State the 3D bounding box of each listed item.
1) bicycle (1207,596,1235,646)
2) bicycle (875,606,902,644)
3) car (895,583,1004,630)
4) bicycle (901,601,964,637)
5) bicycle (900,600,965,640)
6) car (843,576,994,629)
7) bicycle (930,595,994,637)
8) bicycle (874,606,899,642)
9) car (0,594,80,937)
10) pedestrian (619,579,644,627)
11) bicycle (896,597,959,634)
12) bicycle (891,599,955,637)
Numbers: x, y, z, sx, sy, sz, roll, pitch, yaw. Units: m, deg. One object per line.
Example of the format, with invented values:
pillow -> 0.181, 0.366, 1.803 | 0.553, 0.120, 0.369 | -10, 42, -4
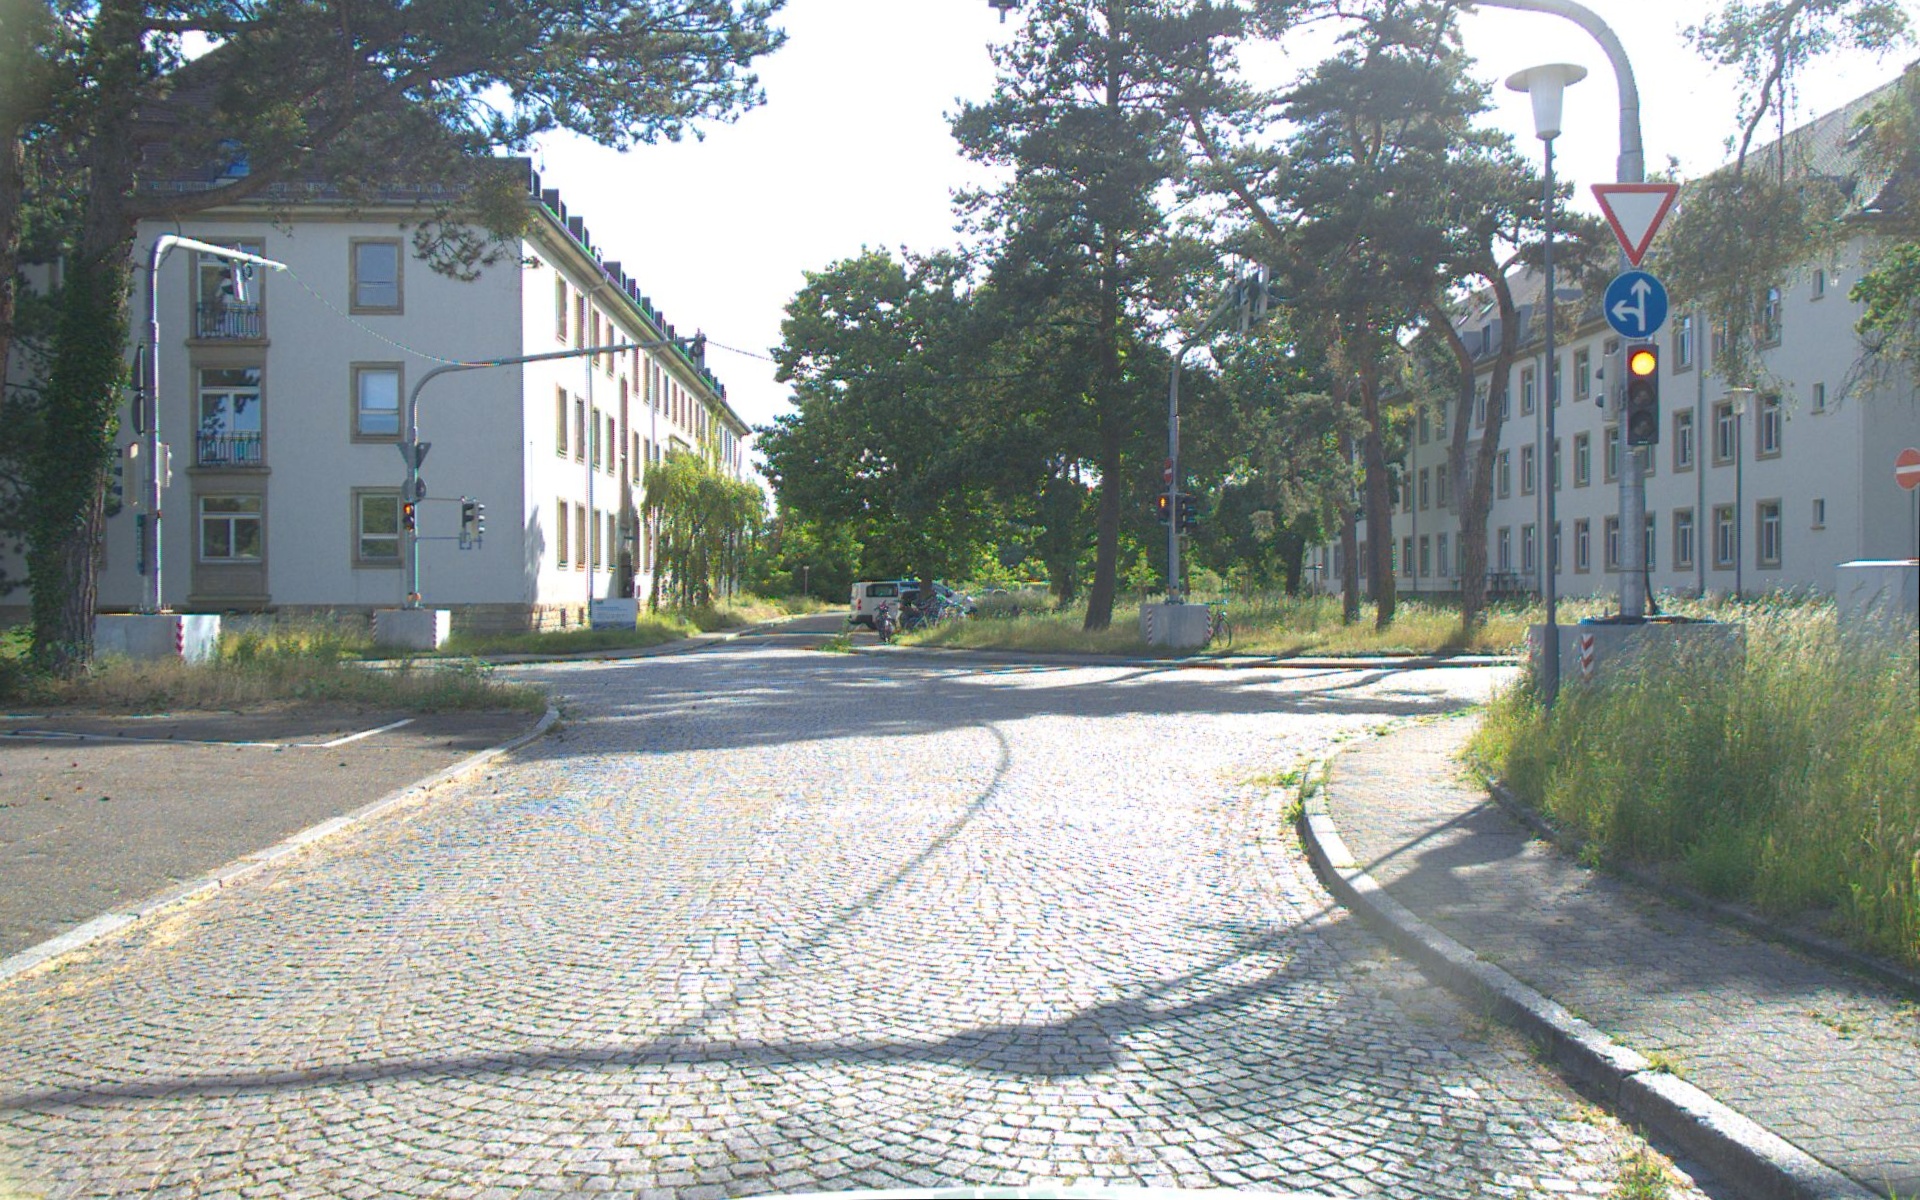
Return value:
bicycle -> 5.857, 0.457, 37.092 | 0.456, 1.099, 1.174 | 0, 0, 1
bicycle -> -1.975, 0.681, 45.399 | 0.682, 0.988, 1.859 | 0, 0, -4
car -> -0.414, 0.241, 62.728 | 3.914, 1.713, 1.843 | 0, 0, -10
bicycle -> -0.818, 0.556, 48.936 | 1.818, 1.049, 0.749 | 0, 0, -6
bicycle -> -0.825, 0.596, 49.734 | 1.903, 1.149, 0.749 | 0, 0, -6
car -> -1.715, 0.084, 66.928 | 5.821, 2.049, 2.470 | 0, 0, -9
bicycle -> 0.058, 0.474, 50.475 | 1.903, 1.257, 0.485 | 0, 0, -6
bicycle -> -2.110, 0.669, 47.332 | 0.682, 0.988, 1.859 | 0, 0, -4
car -> -6.399, 0.656, 6.869 | 4.452, 1.493, 1.751 | 2, 0, -5
pedestrian -> -12.657, 0.109, 63.775 | 0.794, 1.849, 0.555 | 0, 0, 8
bicycle -> -1.026, 0.493, 52.035 | 1.904, 1.149, 0.646 | 0, 0, -8
bicycle -> -1.140, 0.544, 50.938 | 1.920, 1.149, 0.641 | 0, 0, -30
